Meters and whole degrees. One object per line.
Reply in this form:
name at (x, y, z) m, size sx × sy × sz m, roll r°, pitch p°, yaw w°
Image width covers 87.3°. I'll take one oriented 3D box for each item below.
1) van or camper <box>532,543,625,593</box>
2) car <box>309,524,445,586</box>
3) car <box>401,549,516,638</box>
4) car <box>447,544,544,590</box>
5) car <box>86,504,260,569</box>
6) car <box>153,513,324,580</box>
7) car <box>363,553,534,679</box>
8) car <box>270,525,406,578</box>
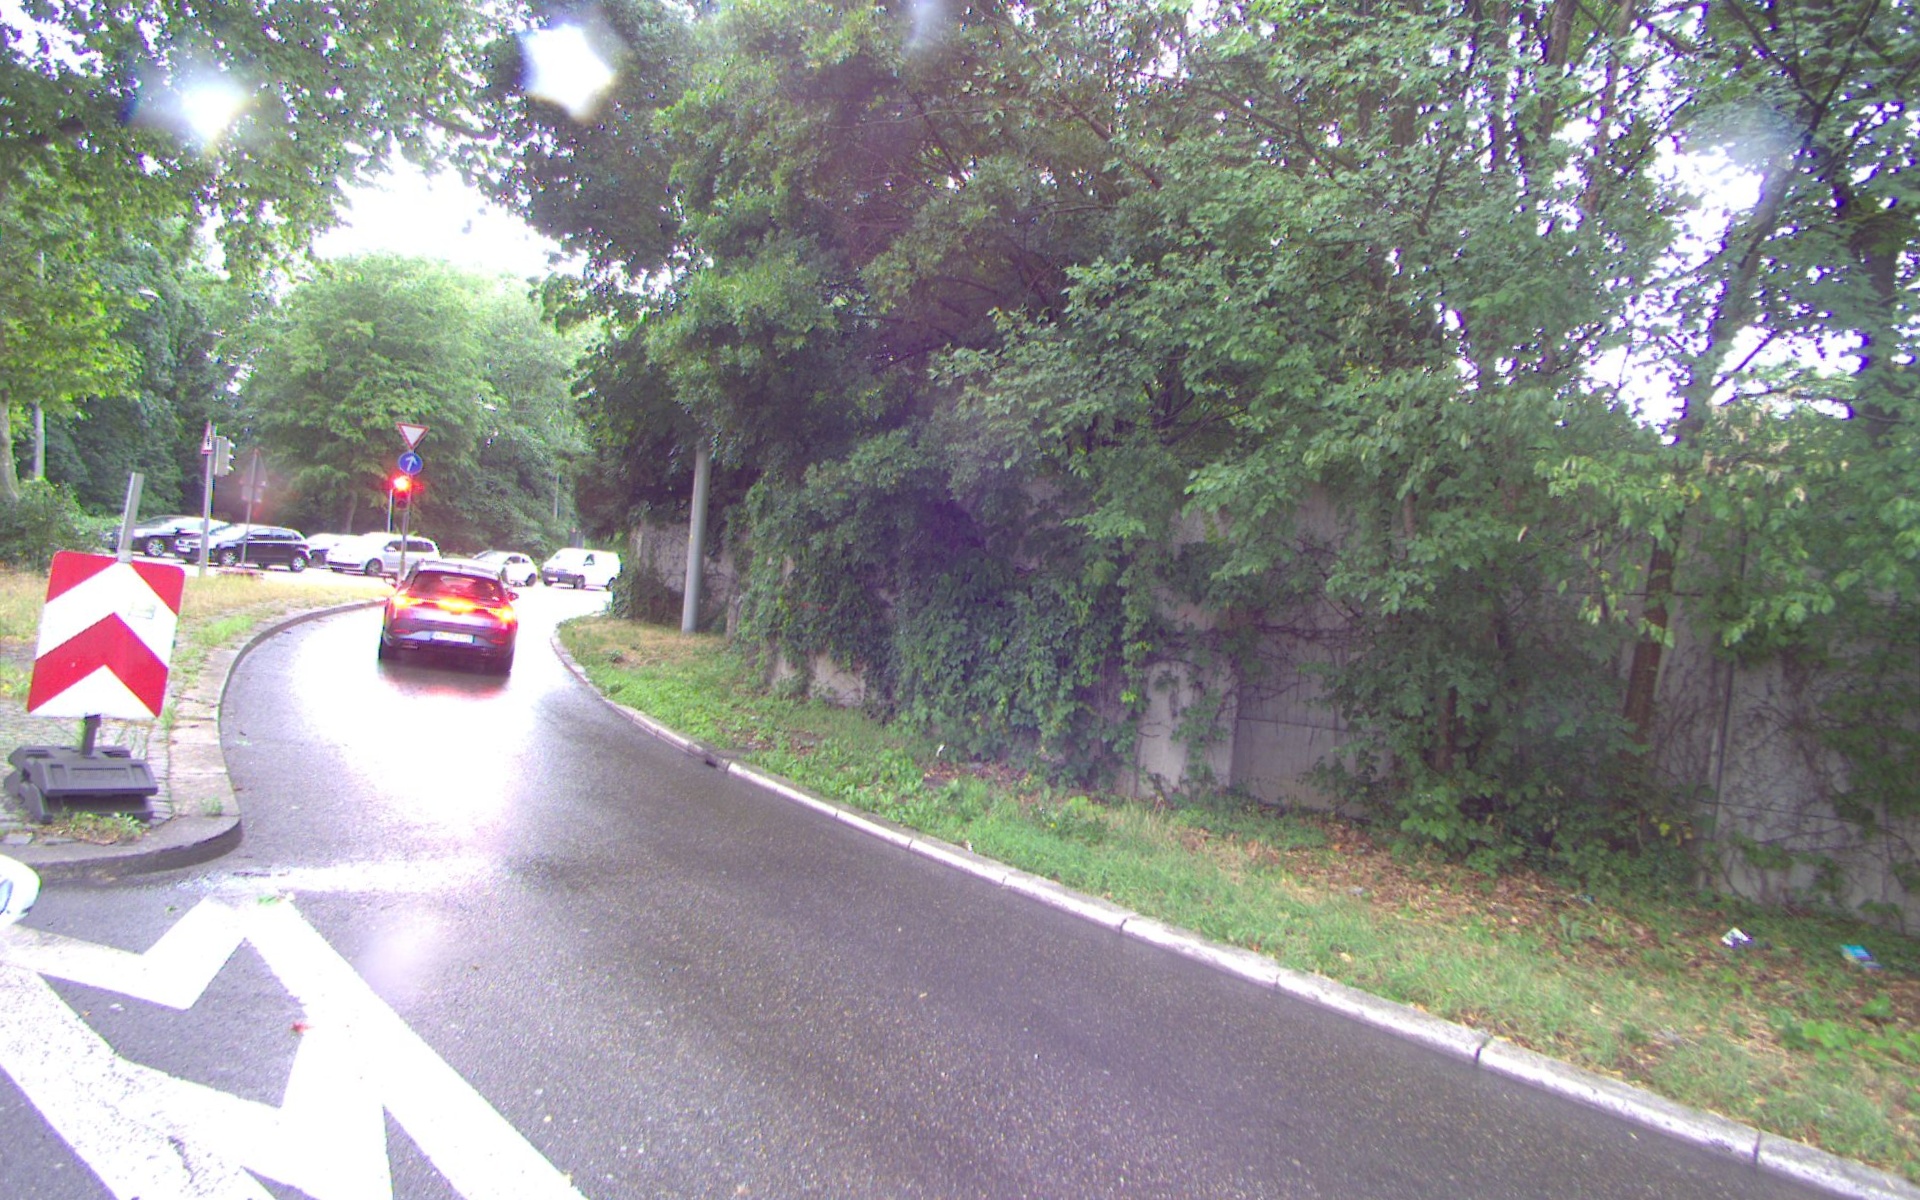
van or camper at (-19.125, -1.559, 50.683) m, size 1.870 × 1.970 × 4.870 m, roll 7°, pitch -1°, yaw 12°
car at (-22.087, -1.653, 38.309) m, size 1.871 × 1.699 × 4.216 m, roll 7°, pitch -2°, yaw 16°
car at (-10.930, -0.179, 22.225) m, size 1.837 × 1.464 × 4.593 m, roll 11°, pitch -3°, yaw -24°
car at (-20.543, -1.423, 44.688) m, size 1.627 × 1.478 × 3.869 m, roll 7°, pitch -2°, yaw 16°
car at (-26.672, -2.113, 34.285) m, size 1.913 × 1.457 × 4.218 m, roll 7°, pitch -2°, yaw 16°
car at (-23.317, -1.680, 32.730) m, size 1.759 × 1.477 × 4.205 m, roll 7°, pitch -2°, yaw 16°
car at (-7.643, 0.195, 15.433) m, size 1.731 × 1.418 × 4.394 m, roll 10°, pitch -3°, yaw -21°
car at (-24.793, -1.875, 40.302) m, size 1.795 × 1.418 × 4.452 m, roll 7°, pitch -2°, yaw 16°
